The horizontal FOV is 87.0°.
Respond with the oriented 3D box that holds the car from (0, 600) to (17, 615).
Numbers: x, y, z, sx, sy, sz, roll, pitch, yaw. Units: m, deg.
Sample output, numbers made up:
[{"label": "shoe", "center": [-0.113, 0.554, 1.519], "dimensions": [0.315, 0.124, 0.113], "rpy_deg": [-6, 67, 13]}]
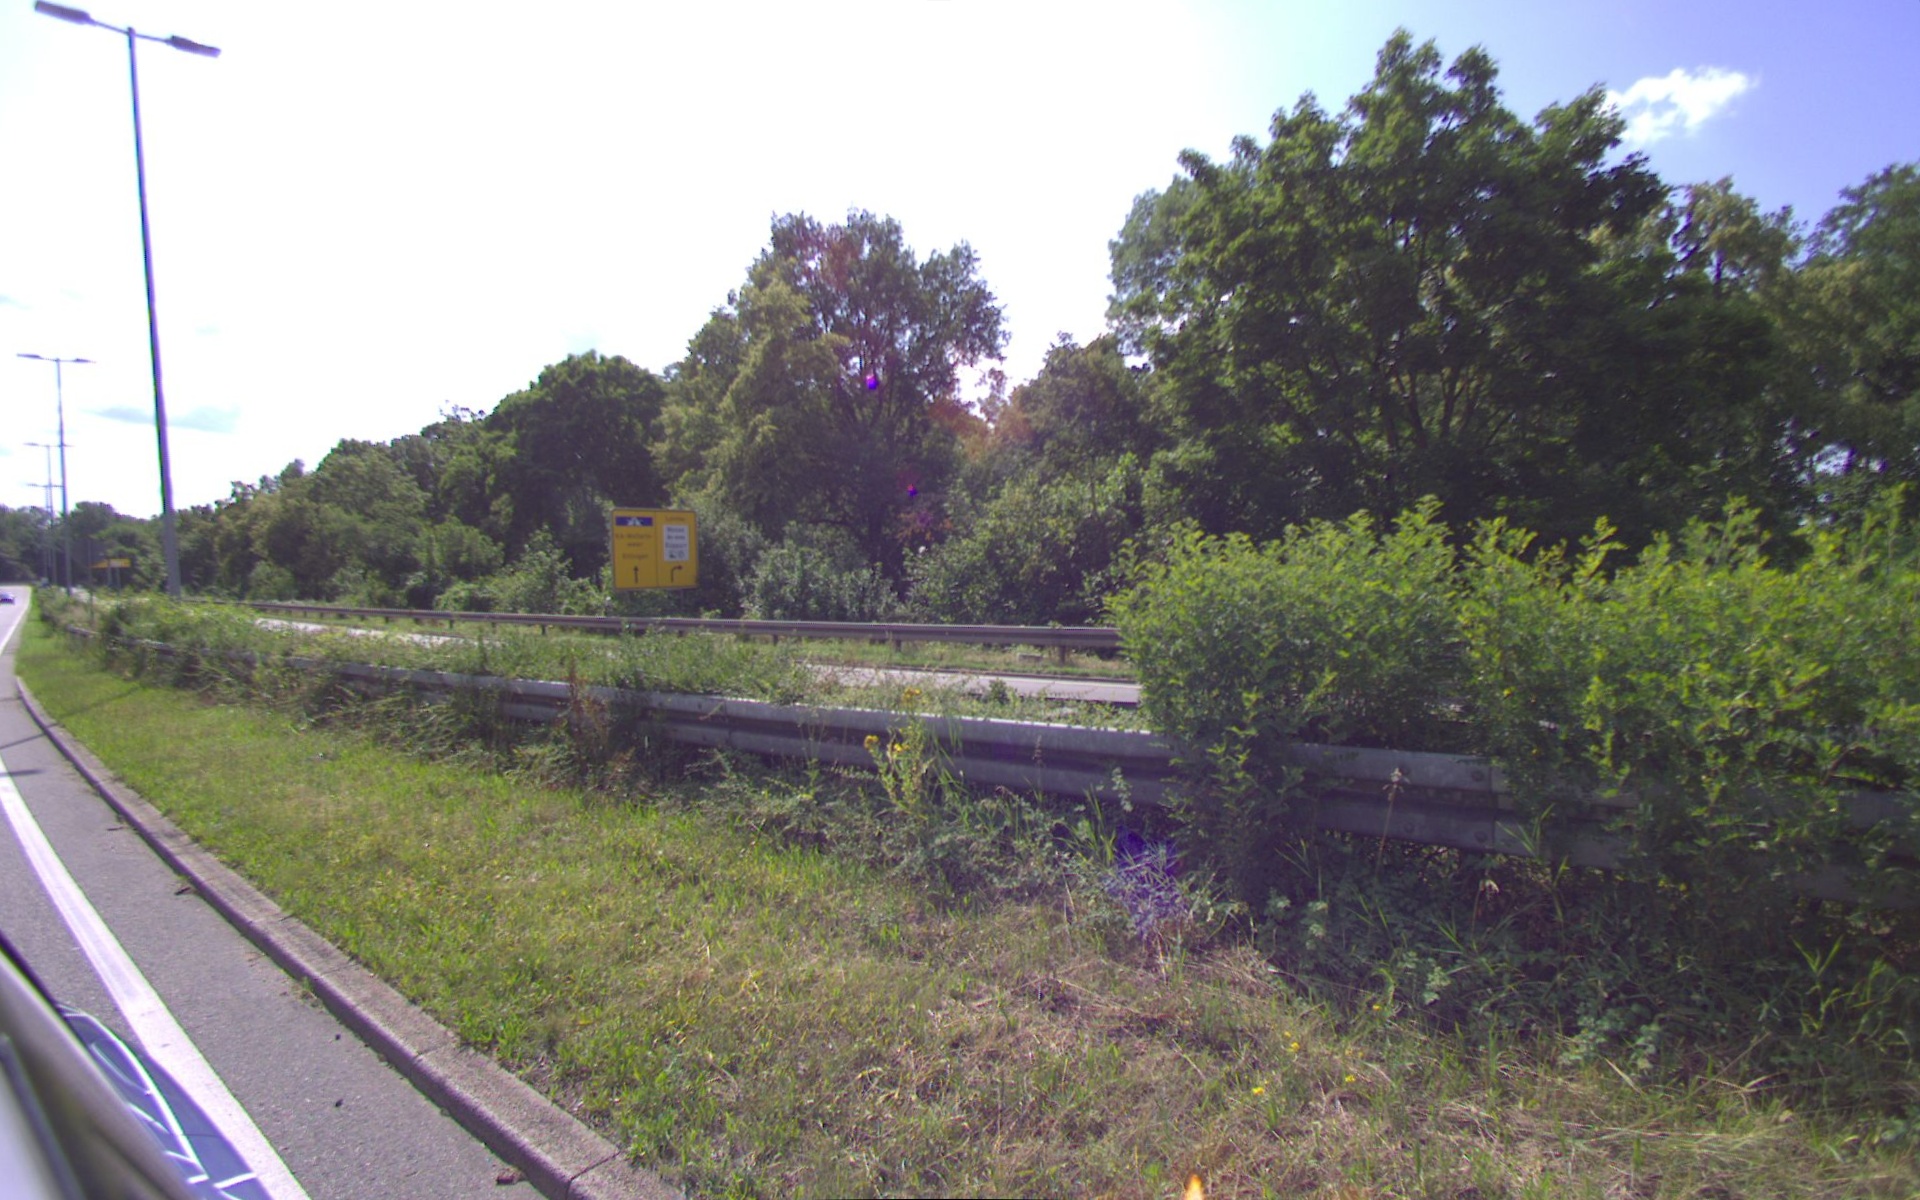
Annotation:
[{"label": "car", "center": [-131.325, 1.002, 139.187], "dimensions": [3.999, 2.029, 1.951], "rpy_deg": [0, 0, 42]}]
